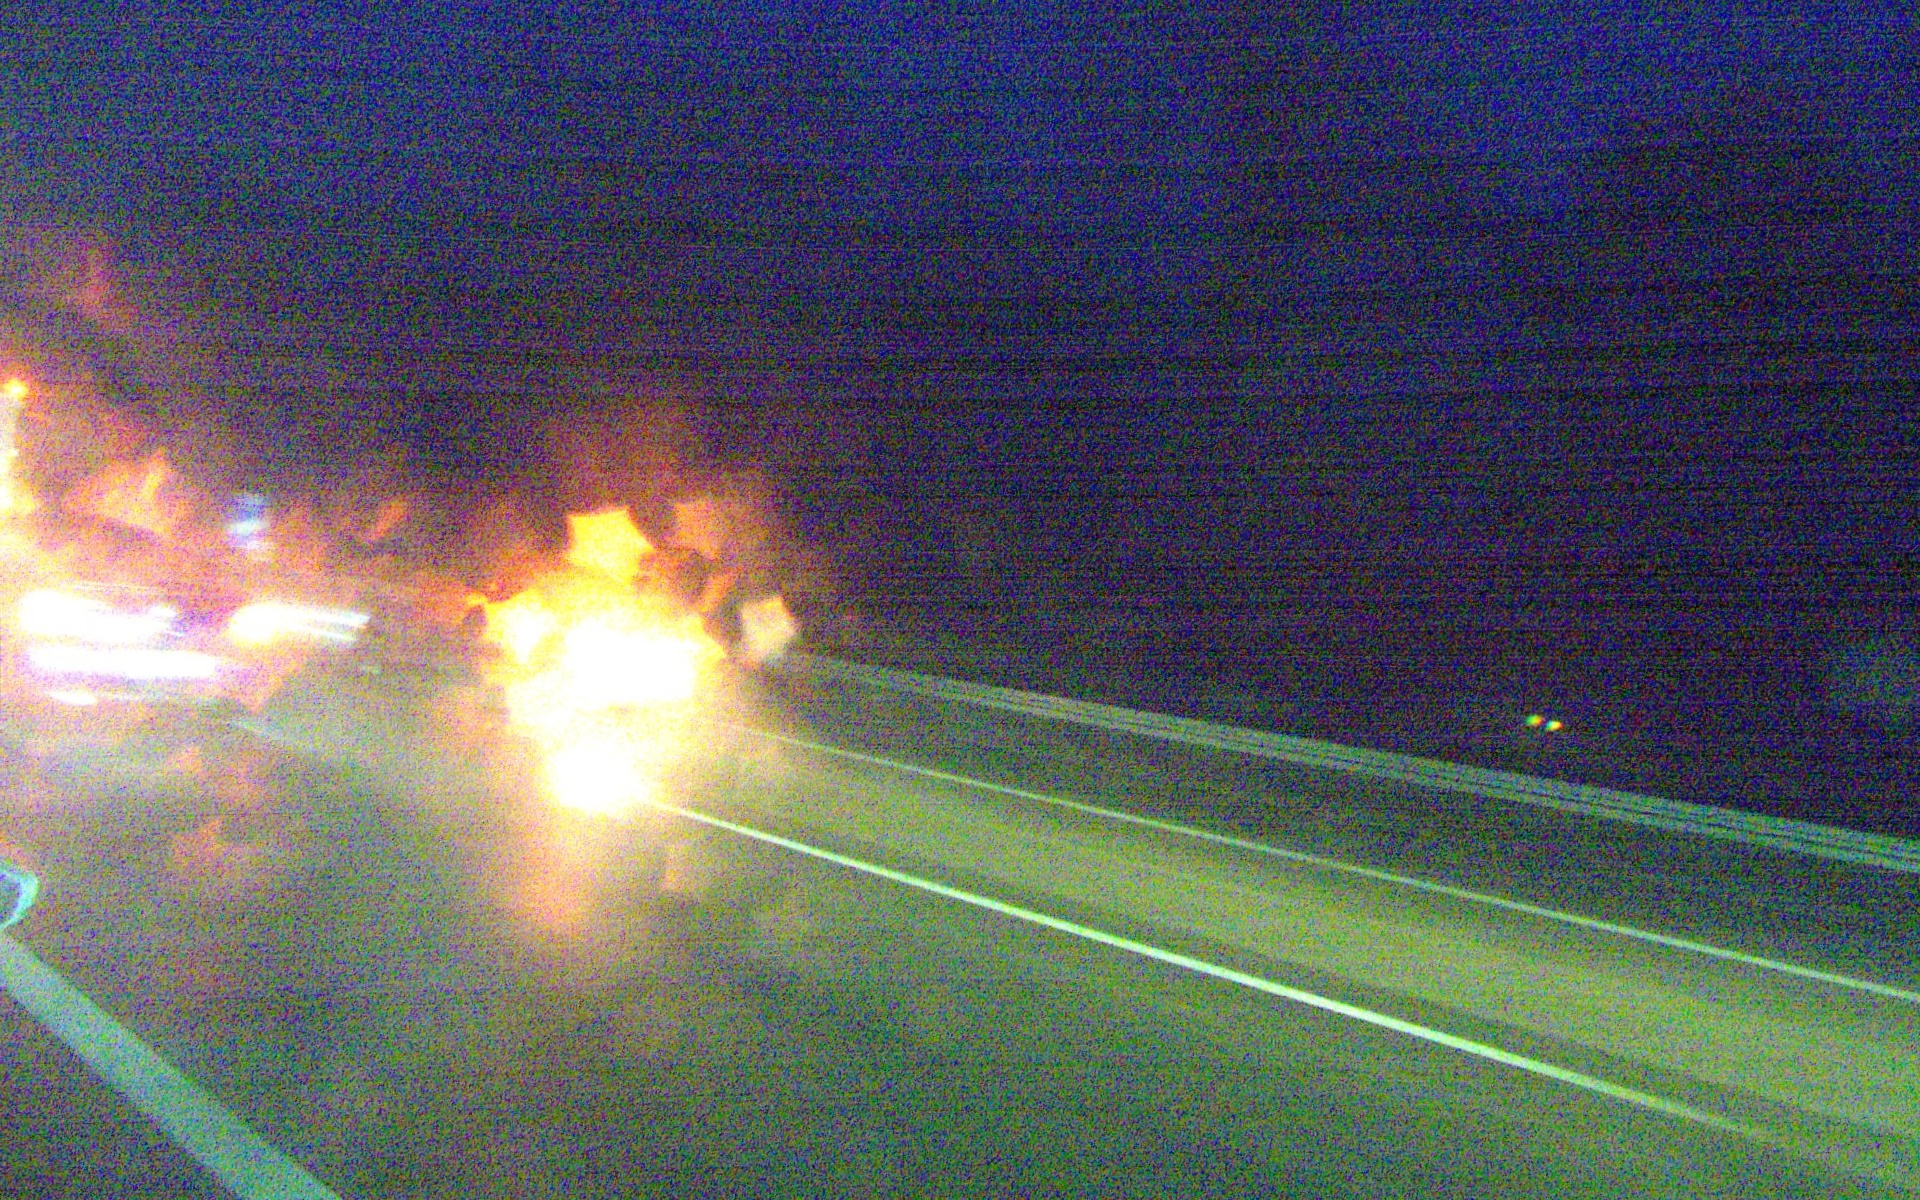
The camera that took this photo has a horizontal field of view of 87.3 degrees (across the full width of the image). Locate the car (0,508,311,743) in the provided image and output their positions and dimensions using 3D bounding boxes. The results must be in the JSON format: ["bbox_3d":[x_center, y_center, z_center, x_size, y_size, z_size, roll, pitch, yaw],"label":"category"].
[{"bbox_3d":[-6.970,0.069,7.822,3.728,1.429,1.616,6,-2,30],"label":"car"}]

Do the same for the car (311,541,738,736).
[{"bbox_3d":[-5.127,0.390,11.640,4.878,1.503,1.898,7,-2,30],"label":"car"}]

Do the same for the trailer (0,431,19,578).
[{"bbox_3d":[-27.555,-2.394,24.916,11.895,4.261,2.809,7,-1,31],"label":"trailer"}]
